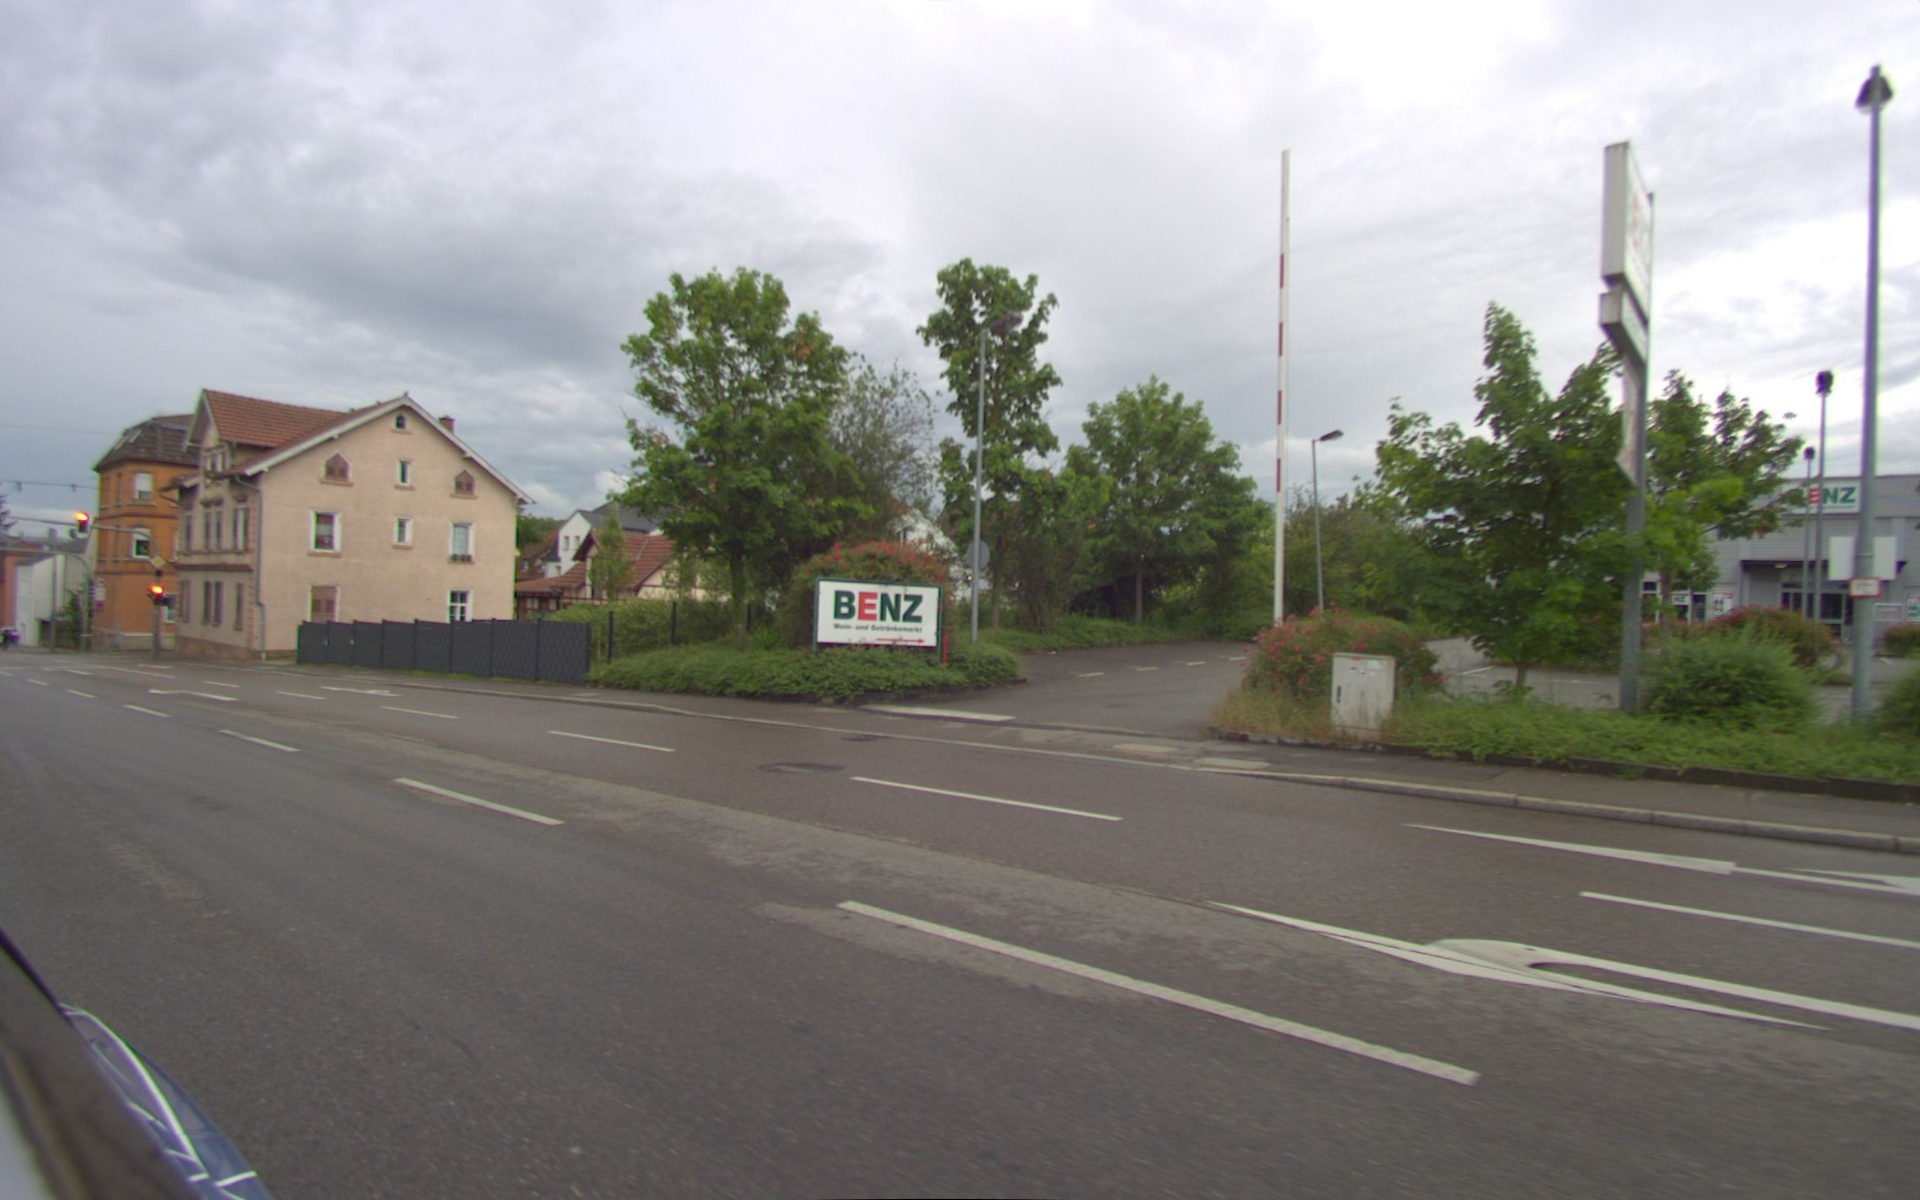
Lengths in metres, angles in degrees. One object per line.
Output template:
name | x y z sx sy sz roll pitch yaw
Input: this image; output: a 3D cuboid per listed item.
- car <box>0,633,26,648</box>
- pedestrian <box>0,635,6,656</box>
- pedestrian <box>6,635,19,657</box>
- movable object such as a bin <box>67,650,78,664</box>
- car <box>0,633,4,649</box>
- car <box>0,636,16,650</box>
car | -105.073 4.437 110.413 2.153 1.620 4.482 -2 -1 43
pedestrian | -77.010 3.657 81.180 0.911 1.719 0.633 -2 -2 42
pedestrian | -76.556 3.711 81.762 0.911 1.719 0.633 -2 -2 42
movable object such as a bin | -60.053 3.858 68.484 0.525 0.932 0.405 -1 -1 35
car | -91.582 3.831 95.382 4.176 1.519 1.727 -2 -3 41
car | -107.187 4.773 111.780 2.000 1.444 4.116 -2 -1 43
